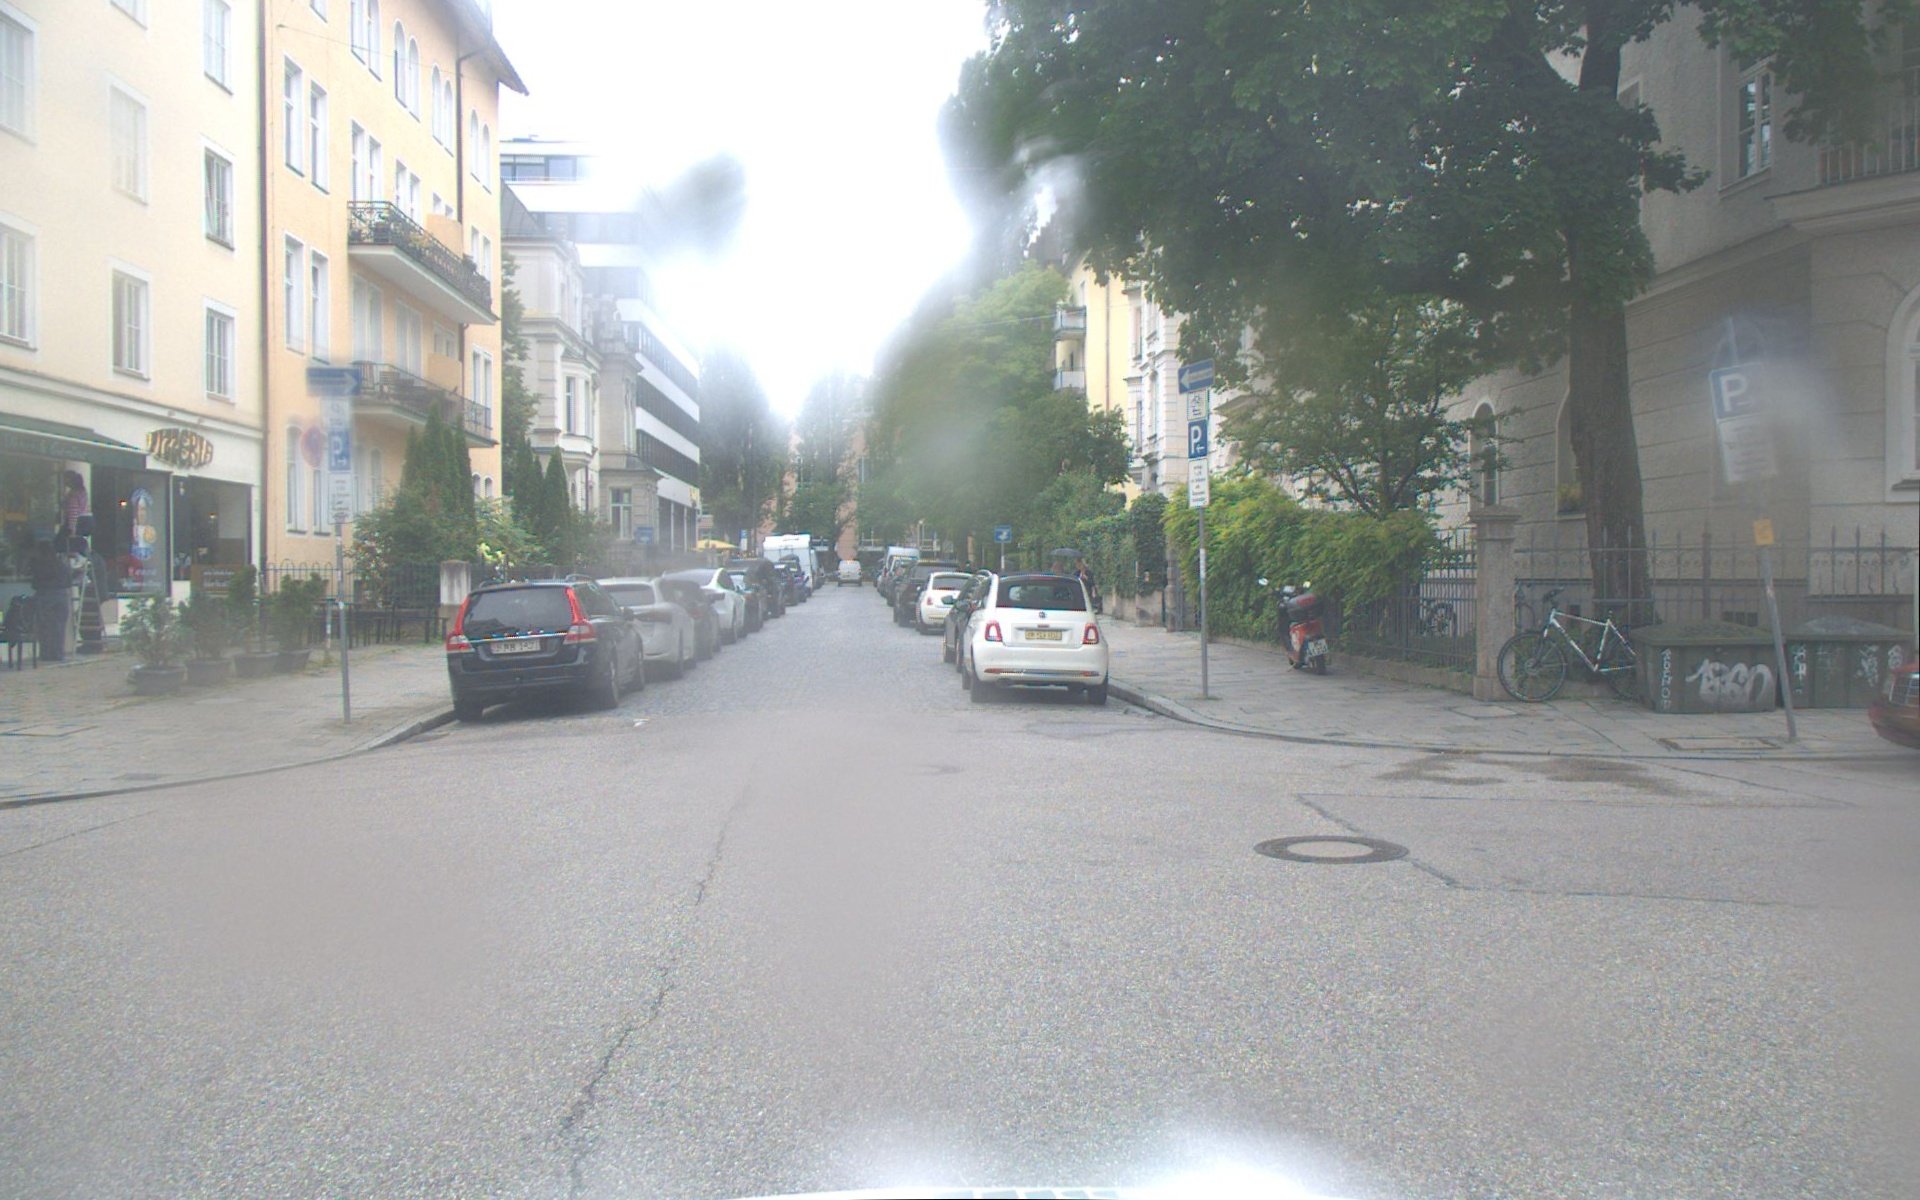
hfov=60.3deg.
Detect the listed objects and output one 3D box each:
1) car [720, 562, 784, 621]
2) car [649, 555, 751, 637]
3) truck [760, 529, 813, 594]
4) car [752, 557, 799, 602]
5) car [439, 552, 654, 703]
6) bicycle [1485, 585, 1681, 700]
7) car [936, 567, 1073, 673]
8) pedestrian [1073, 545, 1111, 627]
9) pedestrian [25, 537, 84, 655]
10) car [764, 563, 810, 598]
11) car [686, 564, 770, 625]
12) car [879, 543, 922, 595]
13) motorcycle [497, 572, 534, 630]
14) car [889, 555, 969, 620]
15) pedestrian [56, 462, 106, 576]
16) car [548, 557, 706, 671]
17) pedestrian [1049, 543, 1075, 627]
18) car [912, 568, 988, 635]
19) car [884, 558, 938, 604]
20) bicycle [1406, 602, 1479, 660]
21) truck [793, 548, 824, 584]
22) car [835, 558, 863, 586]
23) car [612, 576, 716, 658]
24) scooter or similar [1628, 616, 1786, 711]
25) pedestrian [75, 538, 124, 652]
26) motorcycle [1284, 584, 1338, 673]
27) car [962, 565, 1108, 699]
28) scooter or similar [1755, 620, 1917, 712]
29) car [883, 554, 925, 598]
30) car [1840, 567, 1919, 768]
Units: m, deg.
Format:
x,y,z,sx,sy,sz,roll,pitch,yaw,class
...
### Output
x,y,z,sx,sy,sz,roll,pitch,yaw,class
-6.071,-0.249,48.606,1.548,1.617,4.053,-2,1,-3,car
-5.635,-0.103,36.338,1.738,1.676,4.389,1,1,-3,car
-8.693,-1.939,83.410,2.459,3.084,6.379,-2,2,-5,truck
-7.429,-0.834,66.870,1.739,1.747,4.387,1,1,-5,car
-4.886,0.271,20.171,1.816,1.614,4.743,1,1,-5,car
6.362,0.422,16.950,1.799,1.143,0.563,0,1,6,bicycle
0.624,0.270,26.424,1.616,1.446,4.628,4,0,-5,car
3.012,-0.323,37.764,0.620,1.840,0.654,0,0,-27,pedestrian
-13.054,-0.065,23.848,0.511,1.671,0.629,1,0,-4,pedestrian
-7.540,-0.848,72.239,1.902,1.484,4.054,1,1,-5,car
-5.875,-0.159,42.369,1.738,1.454,4.388,1,1,-3,car
-3.104,-1.612,85.040,1.858,2.468,5.607,4,1,-4,car
-9.666,0.006,35.998,0.481,1.215,1.578,1,1,-4,motorcycle
-0.914,-0.359,45.966,1.838,1.702,5.485,1,1,-5,car
-13.086,-1.198,24.639,0.467,1.671,0.497,1,0,0,pedestrian
-4.930,0.172,25.054,1.738,1.563,4.537,1,1,-4,car
2.305,-0.336,37.394,0.563,1.882,0.682,1,0,4,pedestrian
-0.285,0.015,40.934,1.598,1.495,3.656,2,0,-4,car
-2.010,-0.763,66.579,1.924,1.789,4.950,1,1,-4,car
7.455,0.458,25.631,0.481,0.826,2.274,1,1,1,bicycle
-10.242,-2.293,112.247,1.954,2.387,4.065,1,1,-4,truck
-8.157,-2.051,121.889,1.956,1.970,3.998,0,1,-2,car
-5.376,0.266,30.437,1.740,1.383,4.383,1,1,-8,car
7.241,0.599,16.079,1.158,0.863,0.925,1,0,6,scooter or similar
-13.182,-0.079,25.347,0.452,1.719,0.574,1,0,-4,pedestrian
4.506,0.346,21.279,0.355,1.109,1.403,1,0,-1,motorcycle
0.849,0.340,20.445,1.472,1.496,3.793,0,1,-3,car
8.476,0.631,16.042,1.211,0.840,0.697,1,0,6,scooter or similar
-2.726,-1.148,79.577,1.765,1.983,4.856,3,0,-4,car
8.800,0.456,11.530,4.373,1.381,1.761,0,1,4,car
